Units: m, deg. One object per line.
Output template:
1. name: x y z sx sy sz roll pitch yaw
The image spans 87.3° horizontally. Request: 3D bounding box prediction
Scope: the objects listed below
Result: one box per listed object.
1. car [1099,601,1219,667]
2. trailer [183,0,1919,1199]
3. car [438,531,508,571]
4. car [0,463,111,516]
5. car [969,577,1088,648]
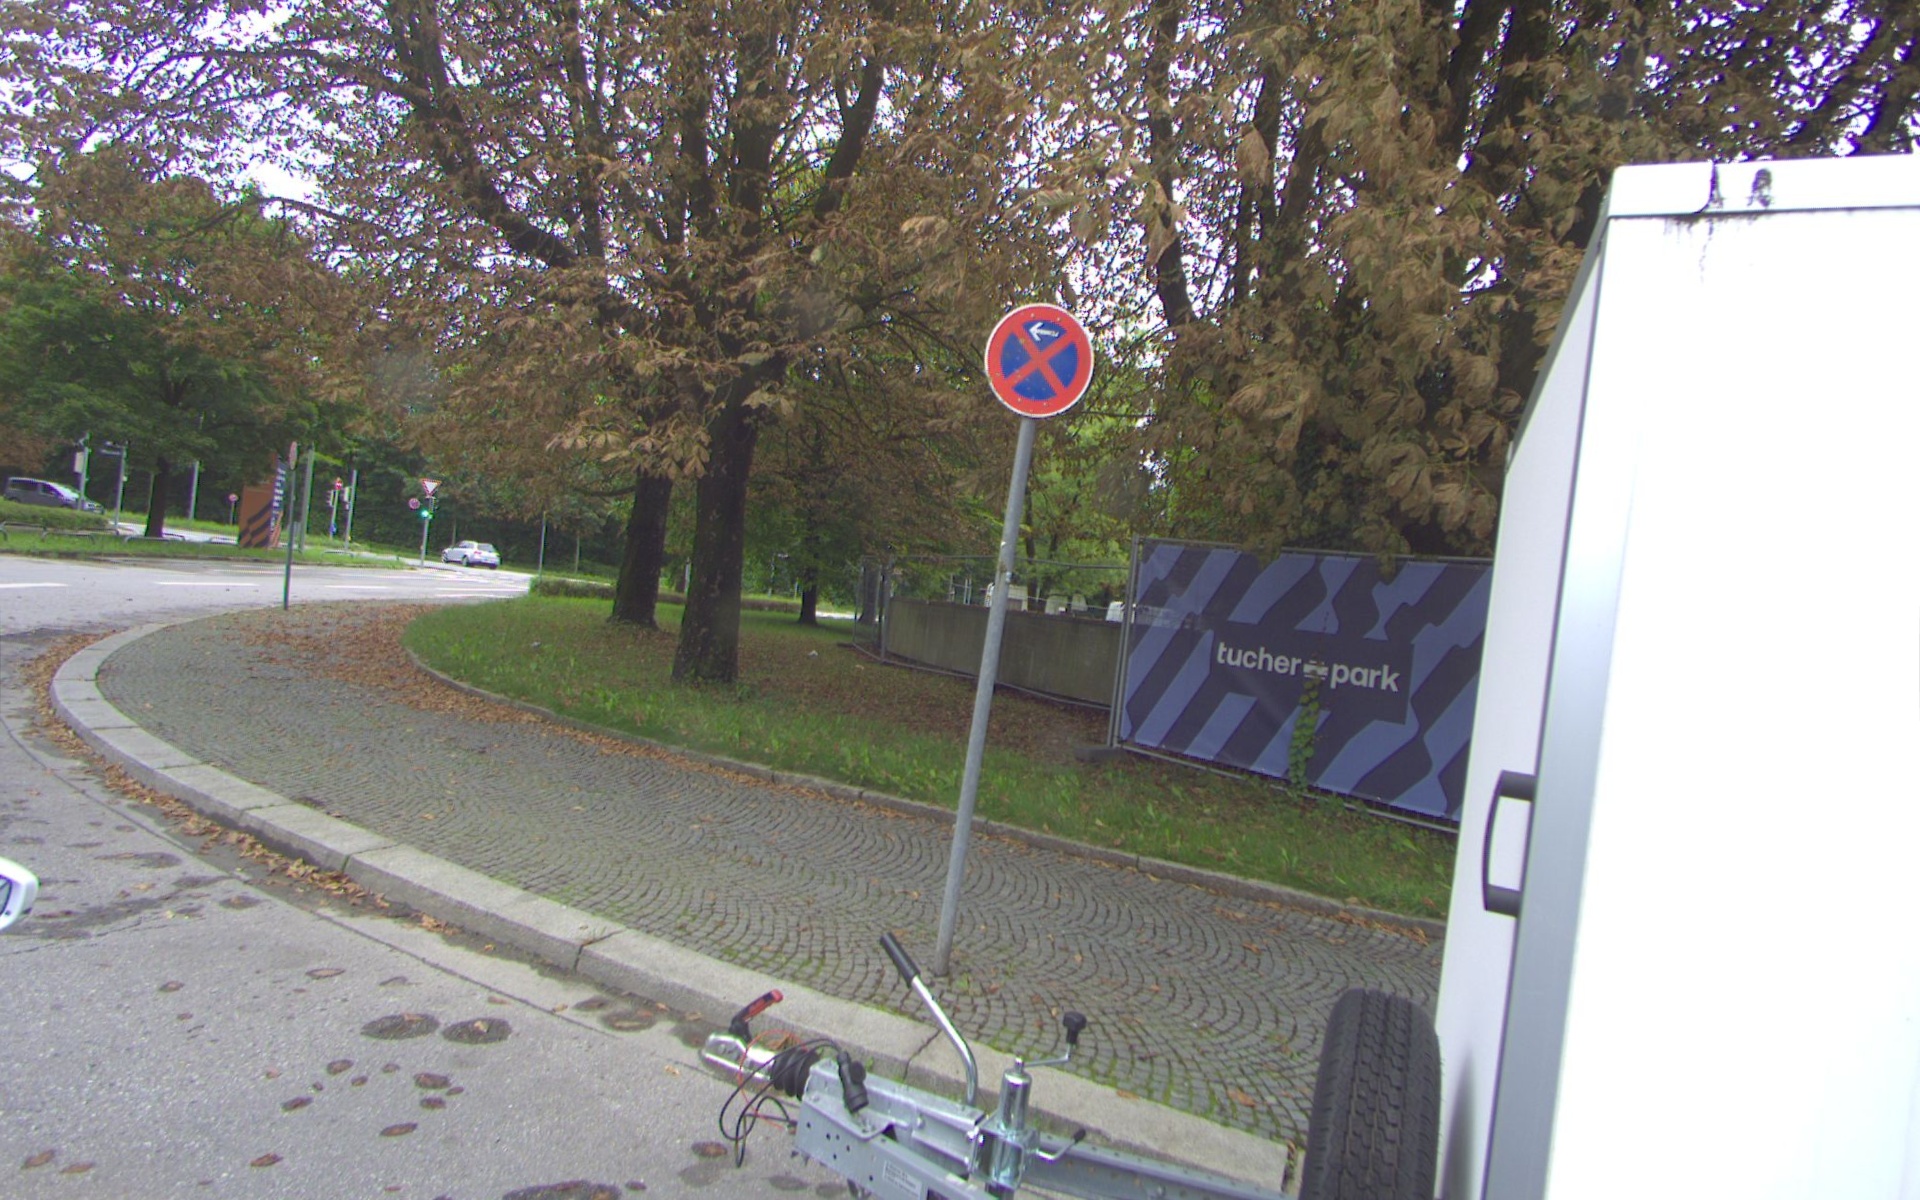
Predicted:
1. car: 10.049 1.704 51.036 5.359 2.612 2.076 7 0 -2
2. trailer: 1.250 0.444 1.448 4.749 2.038 1.813 6 0 27
3. car: -28.052 -2.827 57.926 4.065 1.771 1.992 7 0 40
4. car: -48.819 -5.935 54.324 3.931 2.038 1.997 8 0 -8
5. car: 3.359 0.637 50.434 5.495 2.767 2.076 7 0 -2
